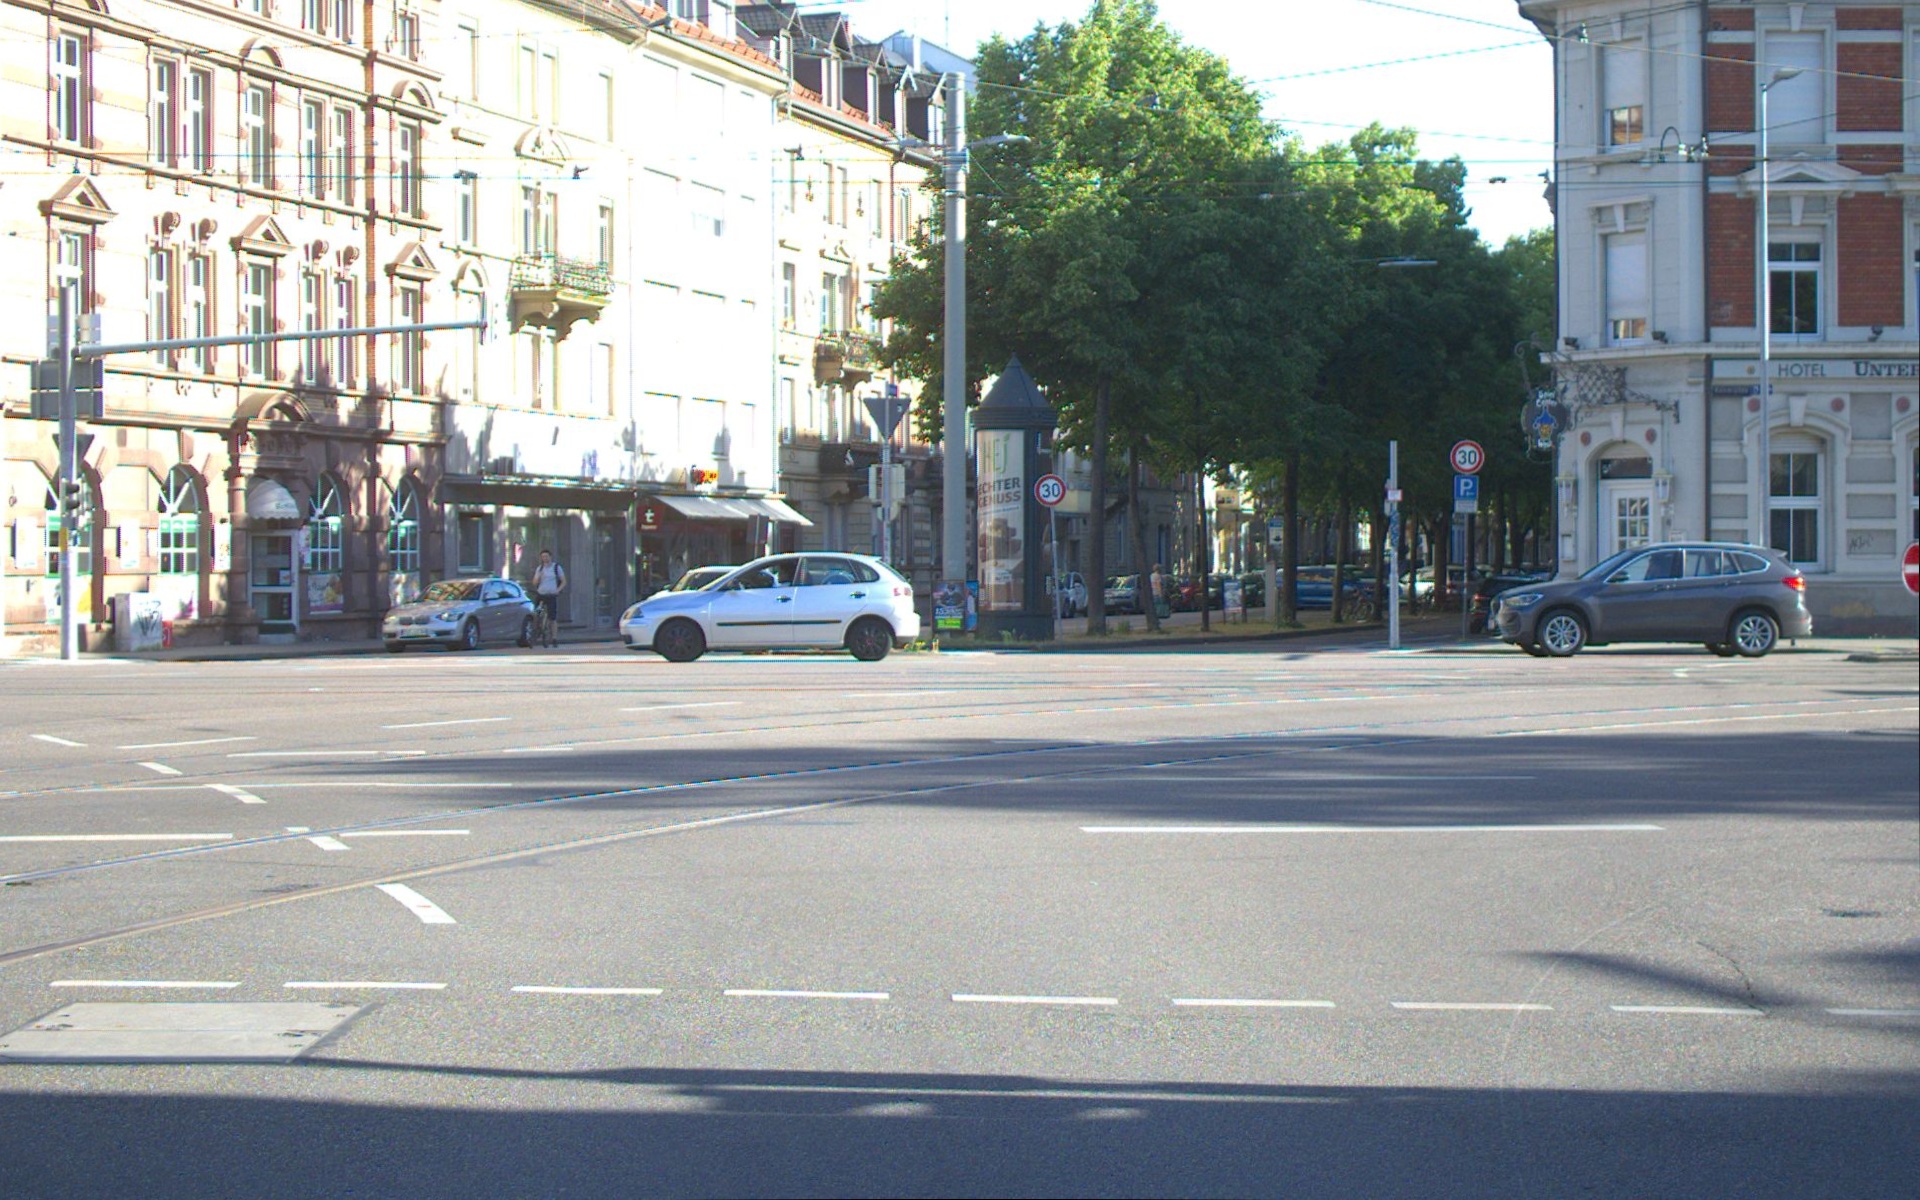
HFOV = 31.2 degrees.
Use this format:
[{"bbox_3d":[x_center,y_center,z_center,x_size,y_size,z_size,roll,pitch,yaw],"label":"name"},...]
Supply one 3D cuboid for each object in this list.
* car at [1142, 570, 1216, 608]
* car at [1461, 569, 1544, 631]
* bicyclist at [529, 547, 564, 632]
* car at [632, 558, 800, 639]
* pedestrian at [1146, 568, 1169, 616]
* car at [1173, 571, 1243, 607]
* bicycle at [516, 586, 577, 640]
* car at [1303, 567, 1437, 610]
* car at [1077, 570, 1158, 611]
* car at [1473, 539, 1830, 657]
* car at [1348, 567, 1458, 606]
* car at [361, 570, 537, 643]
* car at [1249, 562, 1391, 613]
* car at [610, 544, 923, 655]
[{"bbox_3d":[8.403,-0.420,131.410,1.995,1.400,4.166,0,1,16],"label":"car"},{"bbox_3d":[13.048,-0.027,82.533,1.756,1.415,3.998,0,1,12],"label":"car"},{"bbox_3d":[-7.838,-0.203,65.196,0.489,1.596,0.666,0,1,10],"label":"bicyclist"},{"bbox_3d":[-4.750,-0.054,67.473,1.995,1.511,4.166,0,1,16],"label":"car"},{"bbox_3d":[5.677,-0.233,98.857,0.547,1.380,0.625,0,1,16],"label":"pedestrian"},{"bbox_3d":[9.880,-0.452,136.607,1.995,1.400,4.166,0,1,16],"label":"car"},{"bbox_3d":[-7.846,0.231,65.303,0.655,0.997,1.664,1,1,12],"label":"bicycle"},{"bbox_3d":[12.577,-0.351,105.397,3.989,1.284,1.694,0,1,11],"label":"car"},{"bbox_3d":[5.651,-0.342,122.582,1.995,1.400,4.166,0,1,16],"label":"car"},{"bbox_3d":[9.694,-0.043,48.430,4.579,1.610,2.000,0,1,-2],"label":"car"},{"bbox_3d":[14.362,-0.432,111.470,3.435,1.235,1.576,0,1,11],"label":"car"},{"bbox_3d":[-9.926,0.101,67.046,1.995,1.357,3.816,0,1,16],"label":"car"},{"bbox_3d":[10.447,-0.364,99.688,3.989,1.450,1.681,0,1,11],"label":"car"},{"bbox_3d":[-2.507,-0.020,45.272,4.027,1.418,1.886,0,1,0],"label":"car"}]
